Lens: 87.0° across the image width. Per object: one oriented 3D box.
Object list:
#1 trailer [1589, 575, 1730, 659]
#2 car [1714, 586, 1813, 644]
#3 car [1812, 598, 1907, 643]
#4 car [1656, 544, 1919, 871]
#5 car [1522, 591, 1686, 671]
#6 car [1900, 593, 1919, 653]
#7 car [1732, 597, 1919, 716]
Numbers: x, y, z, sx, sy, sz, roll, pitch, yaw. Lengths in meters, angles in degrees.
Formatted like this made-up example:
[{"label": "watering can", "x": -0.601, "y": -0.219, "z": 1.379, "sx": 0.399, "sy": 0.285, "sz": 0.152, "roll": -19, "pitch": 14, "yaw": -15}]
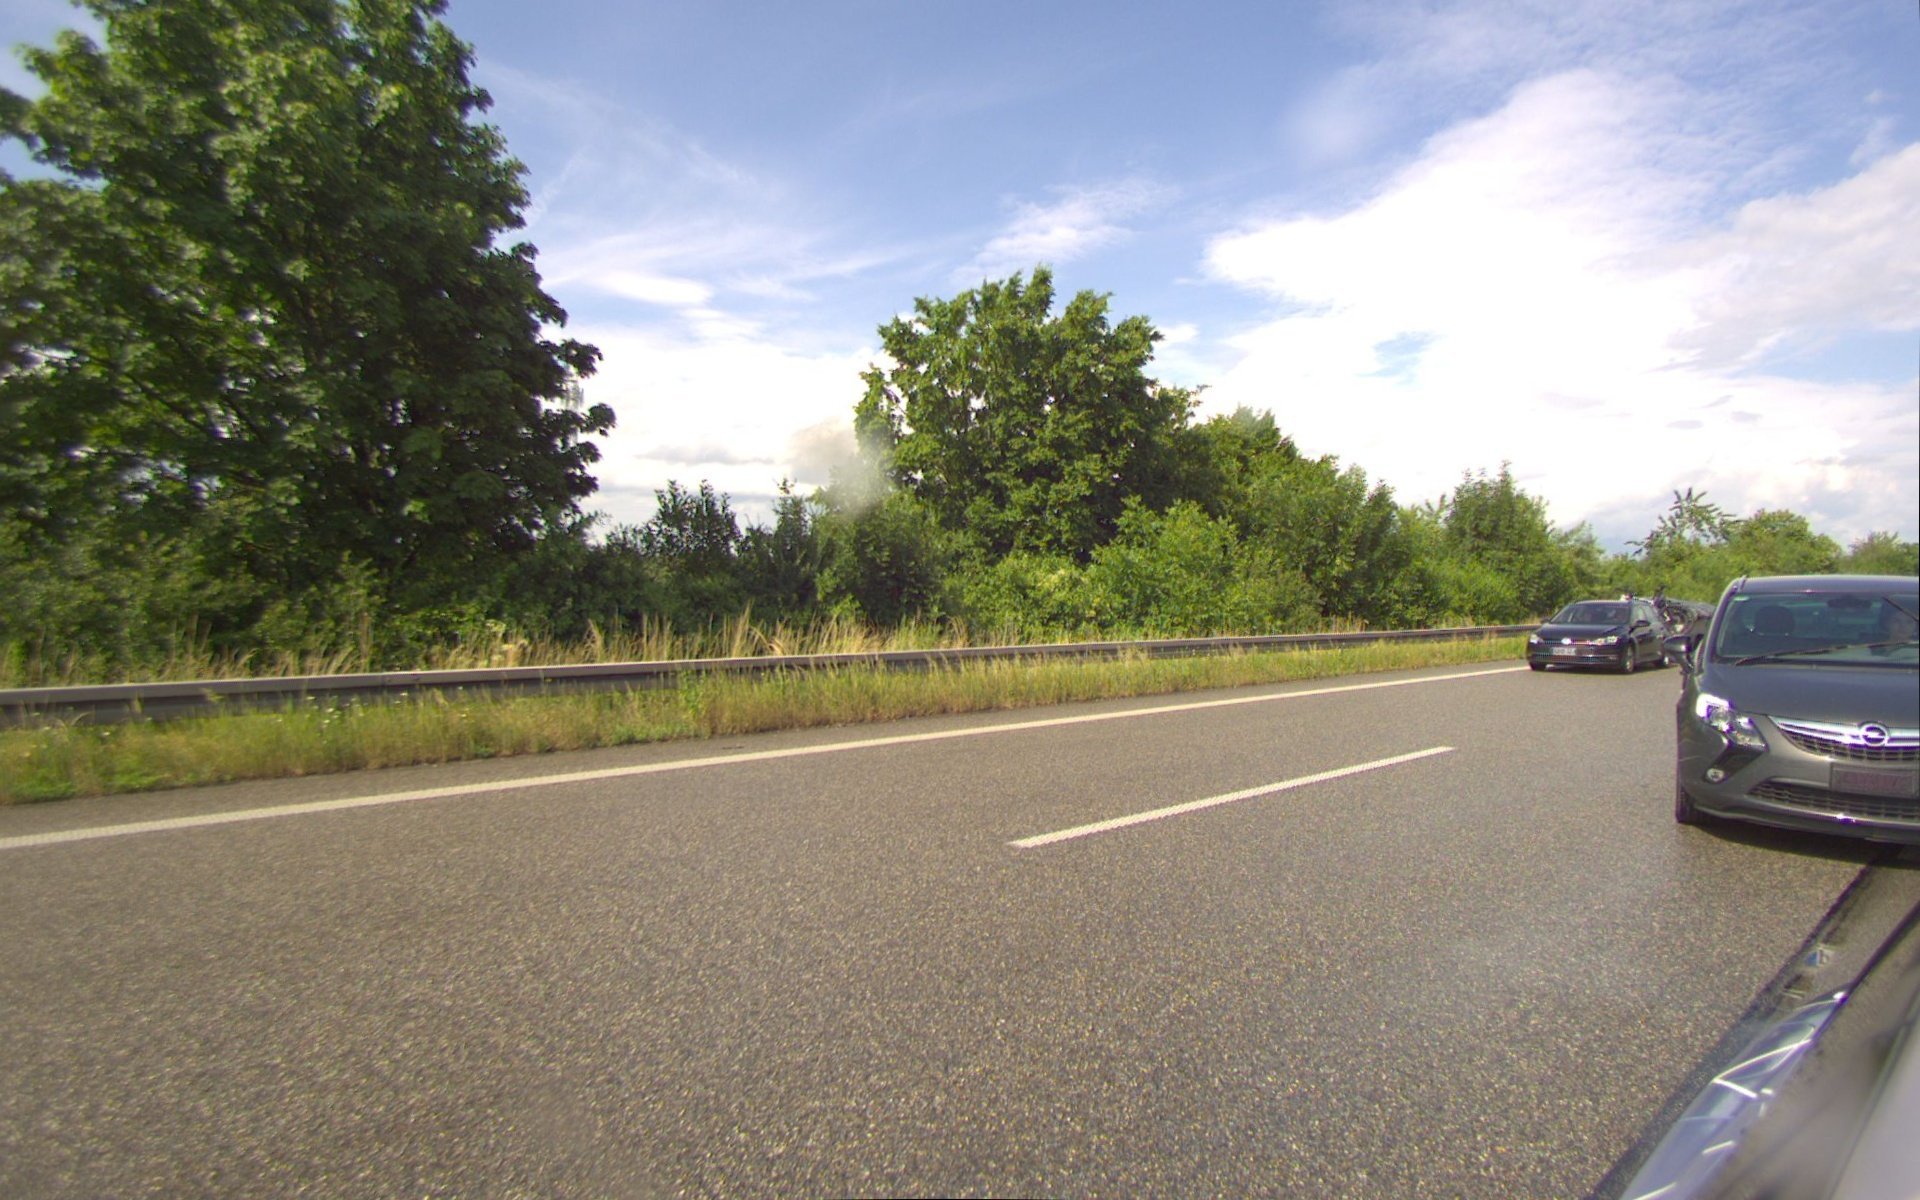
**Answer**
[{"label": "trailer", "x": 16.205, "y": 0.346, "z": 23.379, "sx": 3.899, "sy": 1.768, "sz": 1.808, "roll": 0, "pitch": 0, "yaw": -42}, {"label": "car", "x": 22.253, "y": 0.374, "z": 27.989, "sx": 3.422, "sy": 1.507, "sz": 1.614, "roll": 0, "pitch": 1, "yaw": -42}, {"label": "car", "x": 29.946, "y": 0.633, "z": 33.647, "sx": 4.500, "sy": 1.368, "sz": 1.770, "roll": 0, "pitch": 1, "yaw": -41}, {"label": "car", "x": 6.129, "y": 0.531, "z": 7.089, "sx": 1.849, "sy": 1.652, "sz": 4.671, "roll": 0, "pitch": 1, "yaw": 37}, {"label": "car", "x": 13.169, "y": 0.544, "z": 20.581, "sx": 4.329, "sy": 1.449, "sz": 1.745, "roll": 0, "pitch": 1, "yaw": -42}, {"label": "car", "x": 23.782, "y": 0.525, "z": 24.027, "sx": 3.930, "sy": 1.382, "sz": 1.742, "roll": 0, "pitch": 1, "yaw": -41}, {"label": "car", "x": 12.017, "y": 0.665, "z": 13.733, "sx": 3.816, "sy": 1.371, "sz": 1.721, "roll": 0, "pitch": 0, "yaw": -41}]
